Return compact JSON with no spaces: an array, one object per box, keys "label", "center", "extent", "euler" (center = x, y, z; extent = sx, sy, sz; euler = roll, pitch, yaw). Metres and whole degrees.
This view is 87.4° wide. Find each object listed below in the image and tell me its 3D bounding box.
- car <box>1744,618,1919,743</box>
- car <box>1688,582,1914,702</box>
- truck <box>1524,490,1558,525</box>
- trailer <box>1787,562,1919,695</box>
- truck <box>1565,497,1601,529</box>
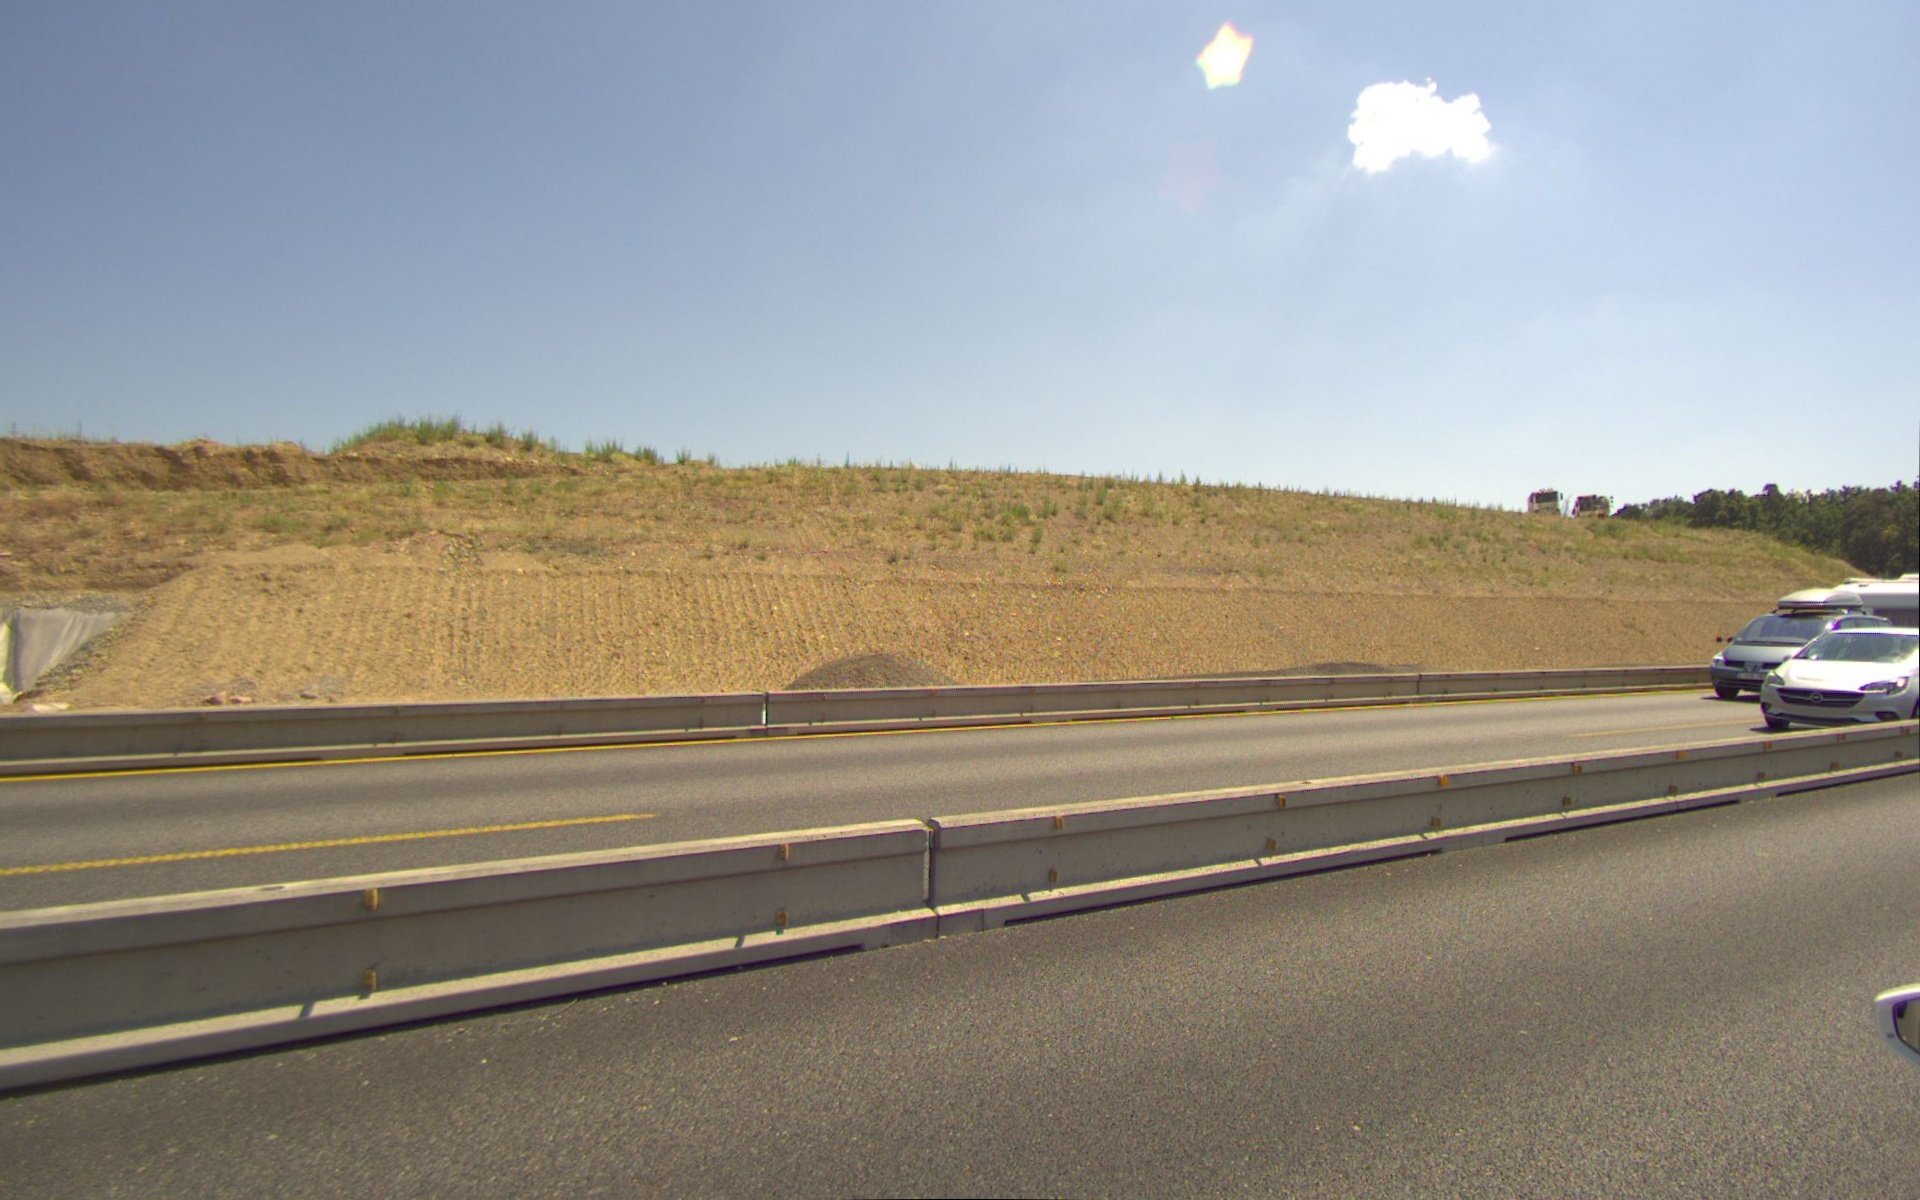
[{"label":"car","center":[13.138,1.090,14.381],"extent":[3.930,1.522,1.680],"euler":[2,0,-30]},{"label":"car","center":[17.032,0.842,20.292],"extent":[4.807,2.183,1.984],"euler":[2,-1,-30]},{"label":"truck","center":[62.908,-9.955,108.948],"extent":[2.317,2.937,8.361],"euler":[2,0,25]},{"label":"trailer","center":[22.016,0.673,23.222],"extent":[6.676,2.722,2.300],"euler":[1,-2,-30]},{"label":"truck","center":[69.689,-9.673,112.486],"extent":[2.259,2.785,8.900],"euler":[2,0,25]}]
